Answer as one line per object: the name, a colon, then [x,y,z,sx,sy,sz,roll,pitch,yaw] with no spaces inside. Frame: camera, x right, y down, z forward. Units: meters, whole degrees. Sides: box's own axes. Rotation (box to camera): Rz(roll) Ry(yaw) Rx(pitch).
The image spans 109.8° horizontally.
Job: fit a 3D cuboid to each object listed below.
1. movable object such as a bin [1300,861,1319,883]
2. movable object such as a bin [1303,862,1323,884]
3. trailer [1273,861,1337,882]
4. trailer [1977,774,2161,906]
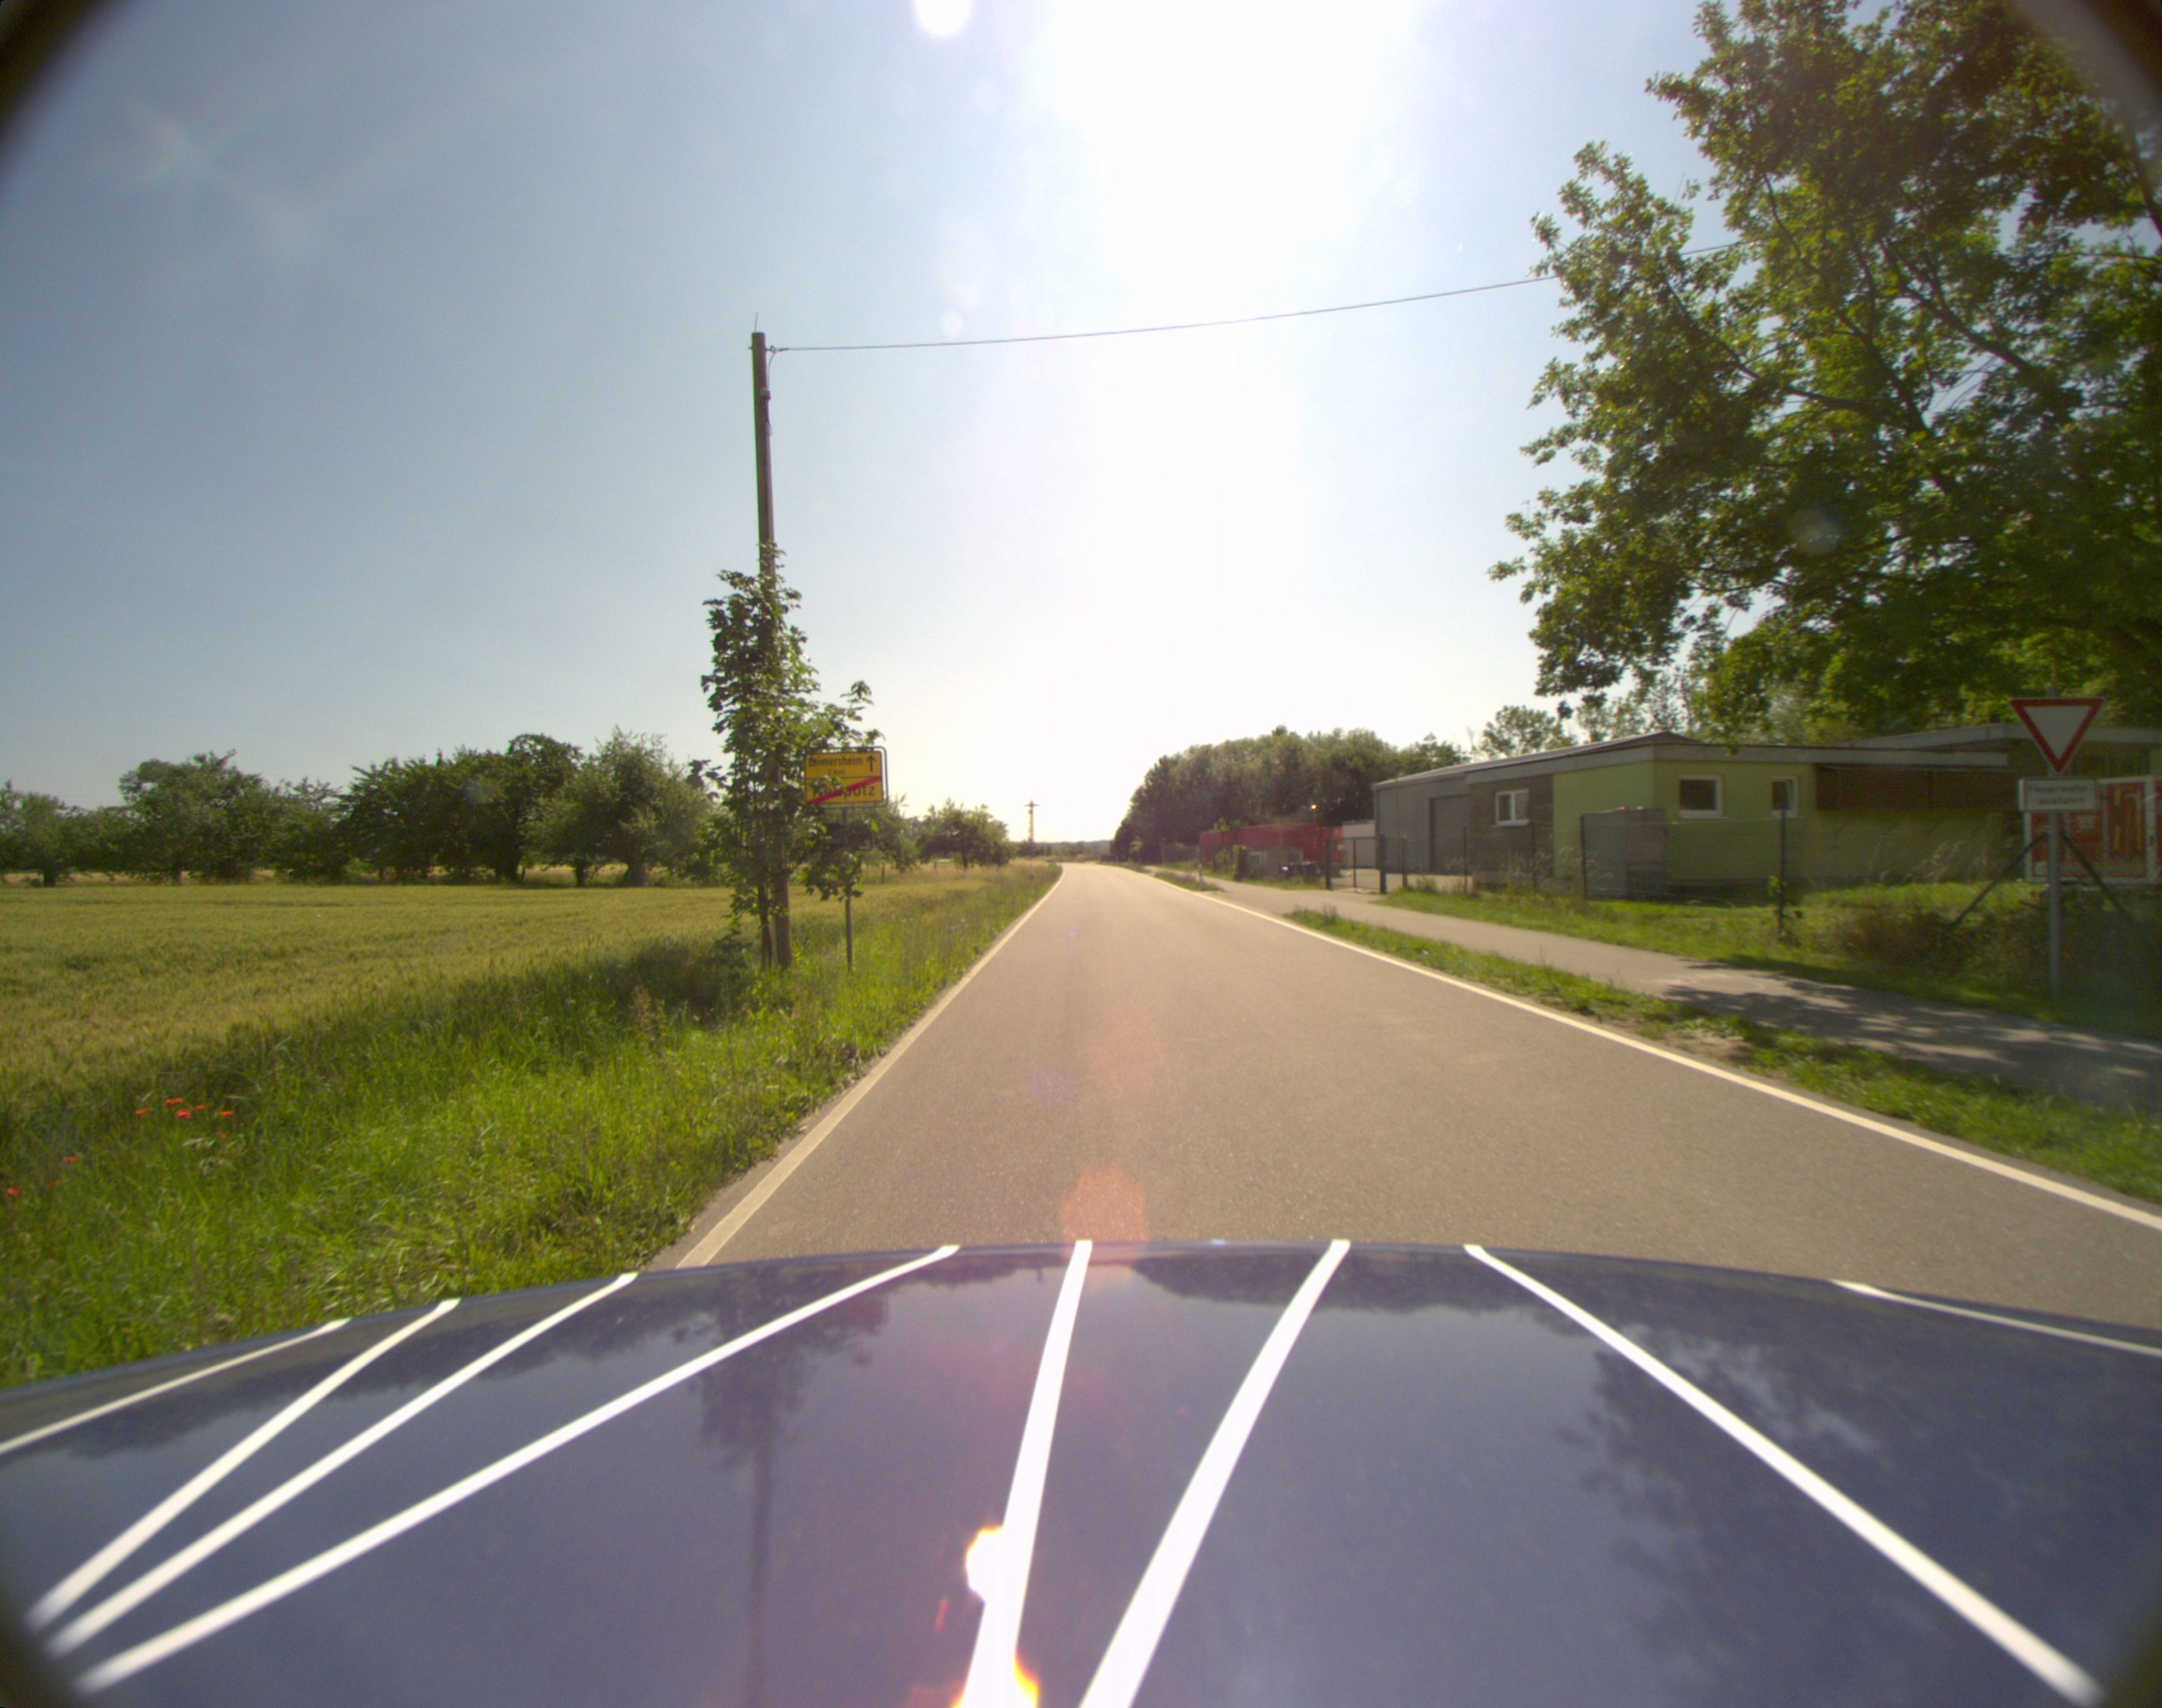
movable object such as a bin: [9.544,0.752,31.690,0.640,0.871,0.654,0,0,6]
movable object such as a bin: [9.468,0.767,31.013,0.640,0.849,0.654,0,0,6]
trailer: [10.108,0.761,34.515,1.636,0.861,3.356,0,0,-6]
trailer: [19.785,-0.253,14.502,4.240,2.264,1.826,-1,0,-15]
